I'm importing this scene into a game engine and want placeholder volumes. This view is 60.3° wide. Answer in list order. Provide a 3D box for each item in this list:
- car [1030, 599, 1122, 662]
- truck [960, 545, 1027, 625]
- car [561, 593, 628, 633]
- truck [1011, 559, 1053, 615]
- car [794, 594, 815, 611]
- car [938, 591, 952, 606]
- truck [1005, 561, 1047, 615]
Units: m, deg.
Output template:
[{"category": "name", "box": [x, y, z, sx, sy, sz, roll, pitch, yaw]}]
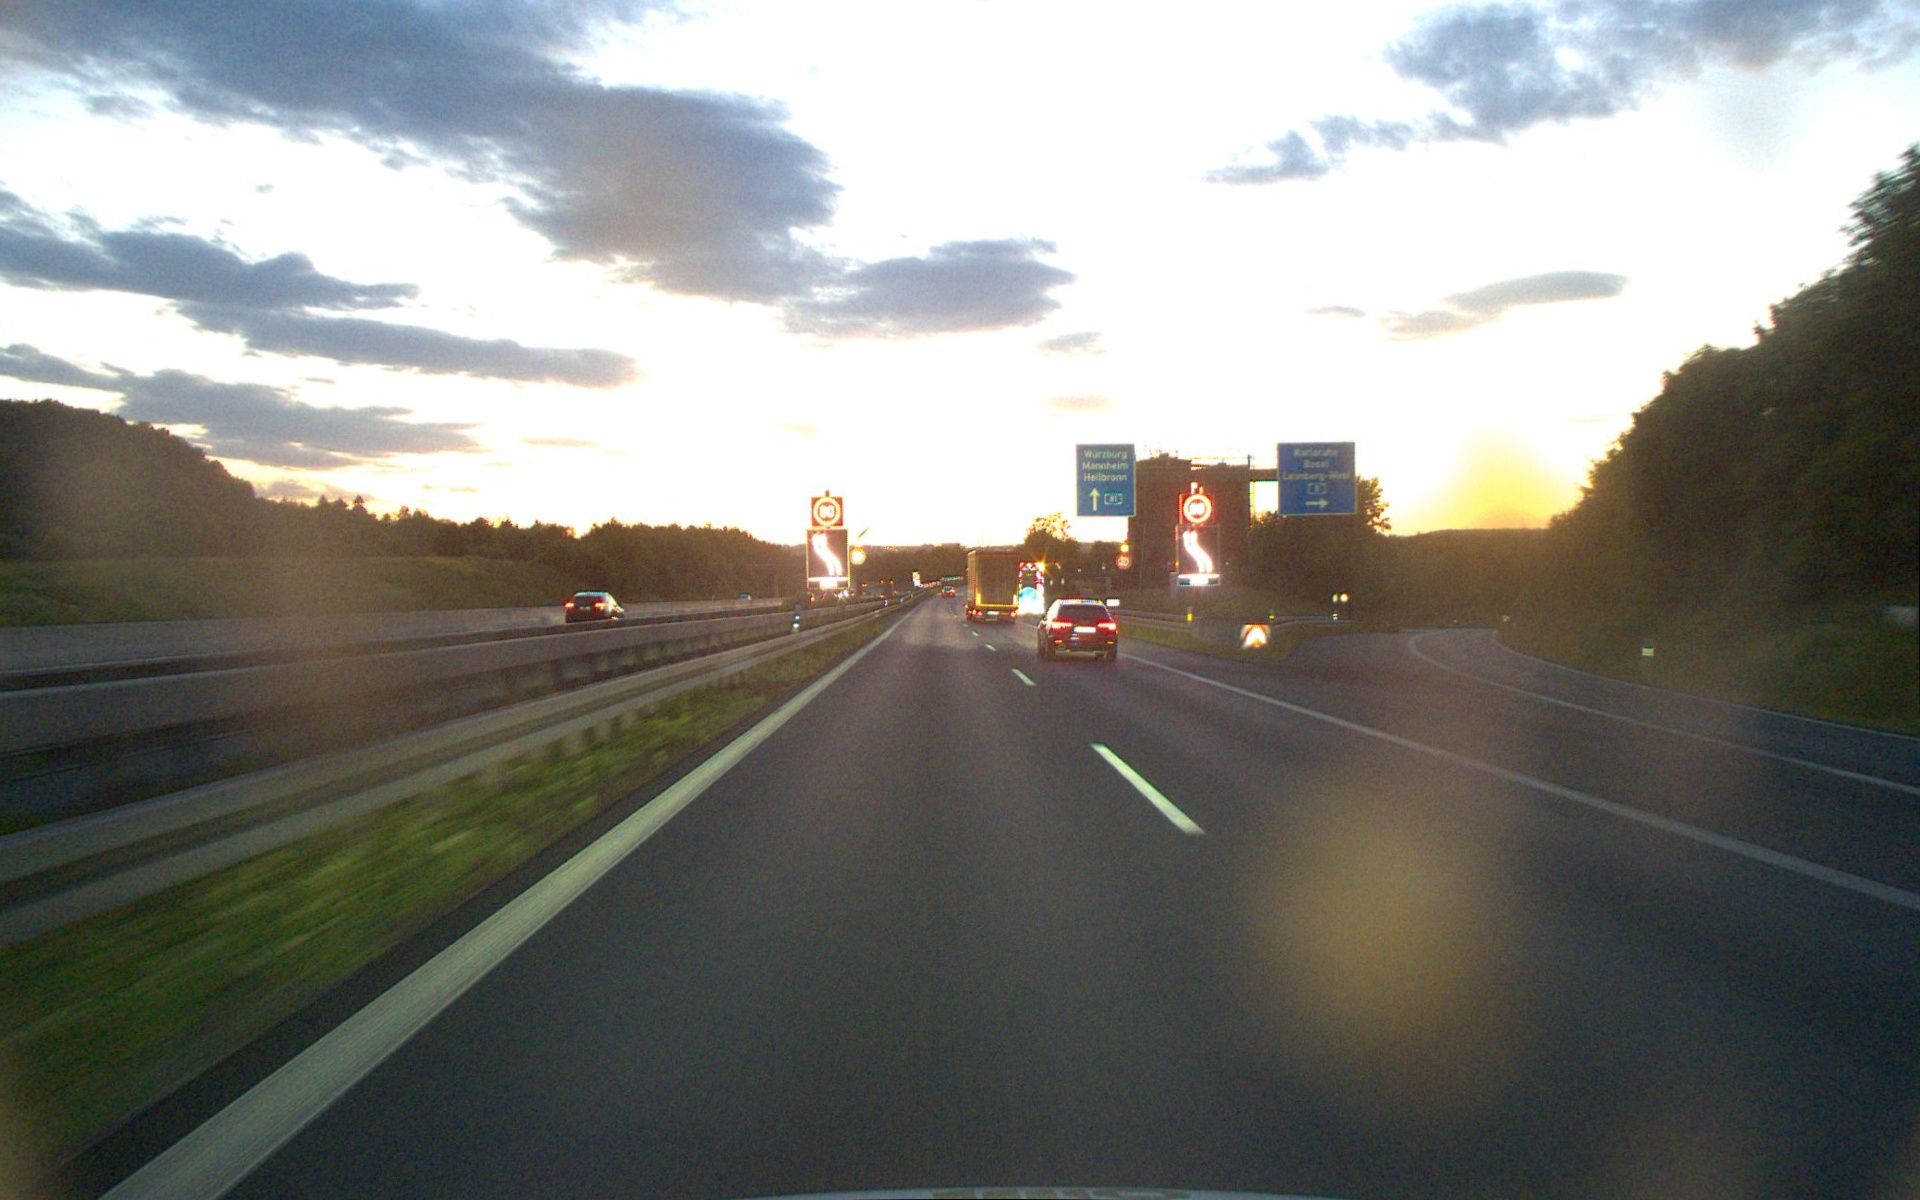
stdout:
[{"category": "car", "box": [2.878, 0.744, 41.742, 1.876, 1.467, 3.998, -1, 0, -2]}, {"category": "truck", "box": [1.843, -0.835, 97.121, 3.439, 4.376, 9.888, -1, 0, -1]}, {"category": "car", "box": [-15.114, 0.524, 68.561, 1.834, 1.588, 4.518, -1, 0, -1]}, {"category": "truck", "box": [5.476, -0.977, 126.453, 2.731, 4.130, 6.410, 0, 0, -1]}, {"category": "car", "box": [-14.847, 0.235, 157.964, 1.678, 1.634, 3.721, -1, 0, -1]}, {"category": "car", "box": [-2.177, -0.234, 239.876, 1.953, 2.049, 3.999, -1, 0, -1]}, {"category": "truck", "box": [5.282, -0.960, 134.222, 2.854, 4.183, 9.147, 0, 0, -1]}]
